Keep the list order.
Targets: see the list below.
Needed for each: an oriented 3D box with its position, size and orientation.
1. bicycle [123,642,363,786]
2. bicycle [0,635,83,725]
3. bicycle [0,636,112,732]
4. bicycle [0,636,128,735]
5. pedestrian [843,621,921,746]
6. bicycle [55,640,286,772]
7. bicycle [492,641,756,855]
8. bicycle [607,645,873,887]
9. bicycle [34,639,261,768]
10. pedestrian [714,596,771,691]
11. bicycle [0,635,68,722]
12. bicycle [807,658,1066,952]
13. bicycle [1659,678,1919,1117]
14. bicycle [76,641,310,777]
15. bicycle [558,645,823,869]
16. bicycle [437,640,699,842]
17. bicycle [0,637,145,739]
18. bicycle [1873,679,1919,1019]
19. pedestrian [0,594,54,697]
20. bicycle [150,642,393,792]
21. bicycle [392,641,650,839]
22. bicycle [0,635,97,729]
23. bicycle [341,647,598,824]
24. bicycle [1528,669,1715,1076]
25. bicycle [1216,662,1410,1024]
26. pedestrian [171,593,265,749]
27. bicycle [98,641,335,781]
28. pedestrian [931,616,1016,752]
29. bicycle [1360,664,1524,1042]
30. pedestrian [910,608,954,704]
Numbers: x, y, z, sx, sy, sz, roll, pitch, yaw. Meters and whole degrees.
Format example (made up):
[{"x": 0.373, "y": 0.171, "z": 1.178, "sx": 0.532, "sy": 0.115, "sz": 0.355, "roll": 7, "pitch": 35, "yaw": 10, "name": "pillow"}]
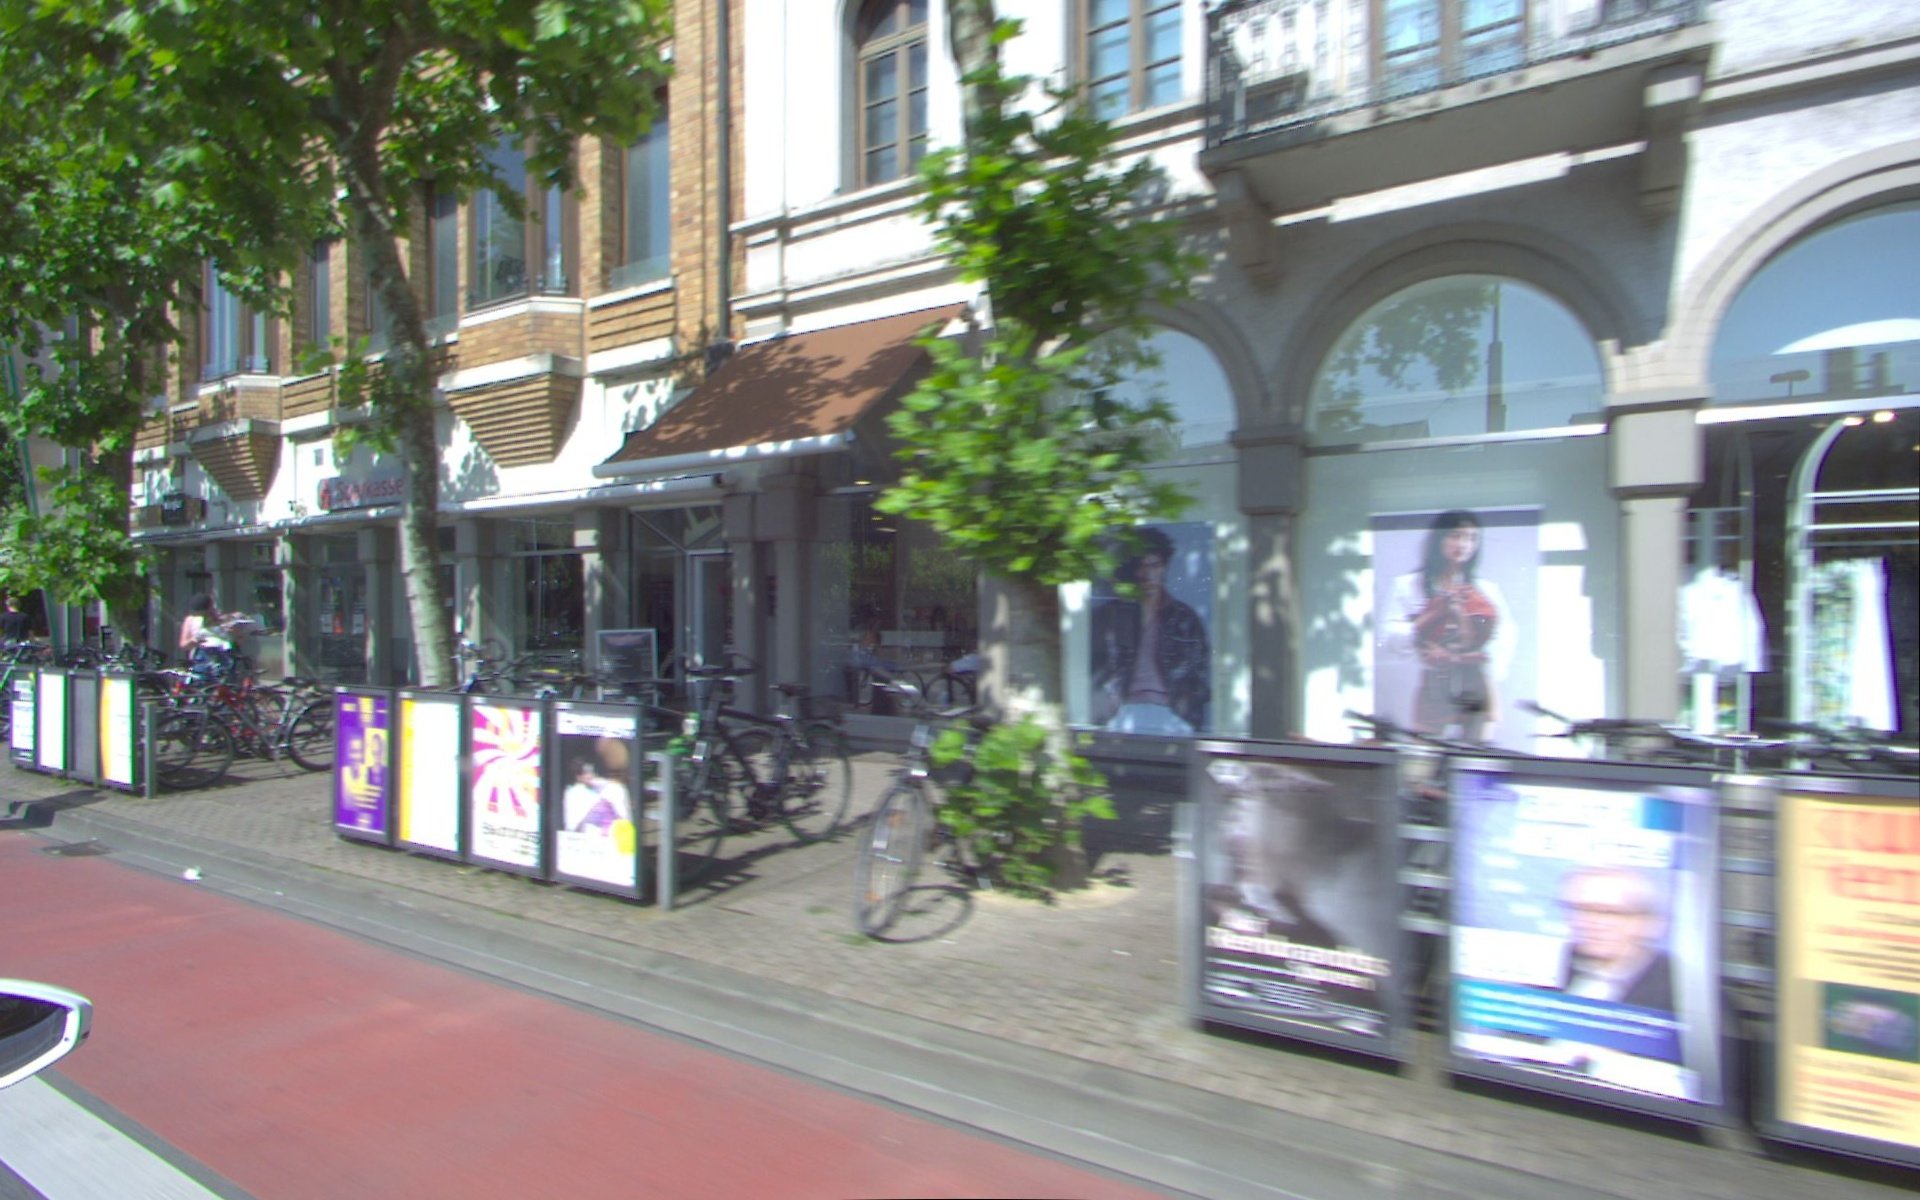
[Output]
[{"x": -6.493, "y": 0.981, "z": 9.175, "sx": 0.475, "sy": 1.162, "sz": 1.751, "roll": 0, "pitch": -1, "yaw": 30, "name": "bicycle"}, {"x": -12.717, "y": 1.054, "z": 13.144, "sx": 0.475, "sy": 1.162, "sz": 1.751, "roll": 0, "pitch": -1, "yaw": 30, "name": "bicycle"}, {"x": -11.870, "y": 1.045, "z": 12.624, "sx": 0.475, "sy": 1.162, "sz": 1.751, "roll": 0, "pitch": -1, "yaw": 30, "name": "bicycle"}, {"x": -11.445, "y": 1.040, "z": 12.360, "sx": 0.475, "sy": 1.162, "sz": 1.751, "roll": 0, "pitch": -1, "yaw": 30, "name": "bicycle"}, {"x": -0.828, "y": 0.867, "z": 10.527, "sx": 0.715, "sy": 1.268, "sz": 0.591, "roll": 1, "pitch": -2, "yaw": -14, "name": "pedestrian"}, {"x": -7.771, "y": 0.994, "z": 9.948, "sx": 0.475, "sy": 1.162, "sz": 1.751, "roll": 0, "pitch": -1, "yaw": 30, "name": "bicycle"}, {"x": -2.089, "y": 0.864, "z": 6.473, "sx": 0.475, "sy": 1.162, "sz": 1.751, "roll": 0, "pitch": -1, "yaw": 30, "name": "bicycle"}, {"x": -1.202, "y": 0.867, "z": 5.860, "sx": 0.475, "sy": 1.162, "sz": 1.751, "roll": 0, "pitch": -1, "yaw": 30, "name": "bicycle"}, {"x": -8.207, "y": 0.998, "z": 10.202, "sx": 0.475, "sy": 1.162, "sz": 1.751, "roll": 0, "pitch": -1, "yaw": 30, "name": "bicycle"}, {"x": -3.468, "y": 0.694, "z": 15.971, "sx": 0.637, "sy": 1.473, "sz": 0.595, "roll": -1, "pitch": -2, "yaw": 42, "name": "pedestrian"}, {"x": -13.137, "y": 1.057, "z": 13.383, "sx": 0.475, "sy": 1.162, "sz": 1.751, "roll": 0, "pitch": -1, "yaw": 30, "name": "bicycle"}, {"x": -0.036, "y": 0.907, "z": 5.062, "sx": 0.475, "sy": 1.162, "sz": 1.751, "roll": 0, "pitch": -1, "yaw": 30, "name": "bicycle"}, {"x": 2.862, "y": 0.868, "z": 3.545, "sx": 0.475, "sy": 1.082, "sz": 1.751, "roll": 0, "pitch": -1, "yaw": 30, "name": "bicycle"}, {"x": -7.349, "y": 0.992, "z": 9.689, "sx": 0.475, "sy": 1.162, "sz": 1.751, "roll": 0, "pitch": -1, "yaw": 30, "name": "bicycle"}, {"x": -1.604, "y": 0.884, "z": 6.272, "sx": 0.519, "sy": 1.162, "sz": 1.751, "roll": 0, "pitch": -1, "yaw": 30, "name": "bicycle"}, {"x": -2.580, "y": 0.867, "z": 6.808, "sx": 0.475, "sy": 1.162, "sz": 1.751, "roll": 0, "pitch": -1, "yaw": 30, "name": "bicycle"}, {"x": -11.000, "y": 1.035, "z": 12.084, "sx": 0.475, "sy": 1.162, "sz": 1.751, "roll": 0, "pitch": -1, "yaw": 30, "name": "bicycle"}, {"x": 3.405, "y": 0.877, "z": 3.105, "sx": 0.475, "sy": 1.162, "sz": 1.751, "roll": 0, "pitch": -1, "yaw": 30, "name": "bicycle"}, {"x": -16.919, "y": 0.809, "z": 18.056, "sx": 0.972, "sy": 1.804, "sz": 0.665, "roll": 0, "pitch": 0, "yaw": 36, "name": "pedestrian"}, {"x": -6.047, "y": 0.977, "z": 8.909, "sx": 0.492, "sy": 1.162, "sz": 1.751, "roll": 0, "pitch": -1, "yaw": 30, "name": "bicycle"}, {"x": -3.040, "y": 0.910, "z": 7.124, "sx": 0.475, "sy": 1.202, "sz": 1.751, "roll": 0, "pitch": -1, "yaw": 30, "name": "bicycle"}, {"x": -12.291, "y": 1.049, "z": 12.883, "sx": 0.475, "sy": 1.162, "sz": 1.751, "roll": 0, "pitch": -1, "yaw": 30, "name": "bicycle"}, {"x": -3.581, "y": 0.933, "z": 7.479, "sx": 0.475, "sy": 1.137, "sz": 1.751, "roll": 0, "pitch": -1, "yaw": 30, "name": "bicycle"}, {"x": 2.428, "y": 0.854, "z": 3.796, "sx": 0.475, "sy": 1.101, "sz": 1.751, "roll": 0, "pitch": -1, "yaw": 30, "name": "bicycle"}, {"x": 1.573, "y": 0.879, "z": 4.287, "sx": 0.475, "sy": 1.162, "sz": 1.751, "roll": 0, "pitch": -1, "yaw": 30, "name": "bicycle"}, {"x": -8.221, "y": 0.771, "z": 11.099, "sx": 0.722, "sy": 1.654, "sz": 0.650, "roll": -1, "pitch": -2, "yaw": 40, "name": "pedestrian"}, {"x": -6.923, "y": 0.985, "z": 9.429, "sx": 0.475, "sy": 1.162, "sz": 1.751, "roll": 0, "pitch": -1, "yaw": 30, "name": "bicycle"}, {"x": 0.124, "y": 0.847, "z": 10.304, "sx": 0.643, "sy": 1.323, "sz": 0.866, "roll": 1, "pitch": -2, "yaw": -16, "name": "pedestrian"}, {"x": 1.999, "y": 0.857, "z": 4.045, "sx": 0.475, "sy": 1.119, "sz": 1.751, "roll": 0, "pitch": -1, "yaw": 30, "name": "bicycle"}, {"x": -0.422, "y": 0.836, "z": 15.092, "sx": 0.517, "sy": 1.404, "sz": 0.413, "roll": 0, "pitch": -2, "yaw": 27, "name": "pedestrian"}]
